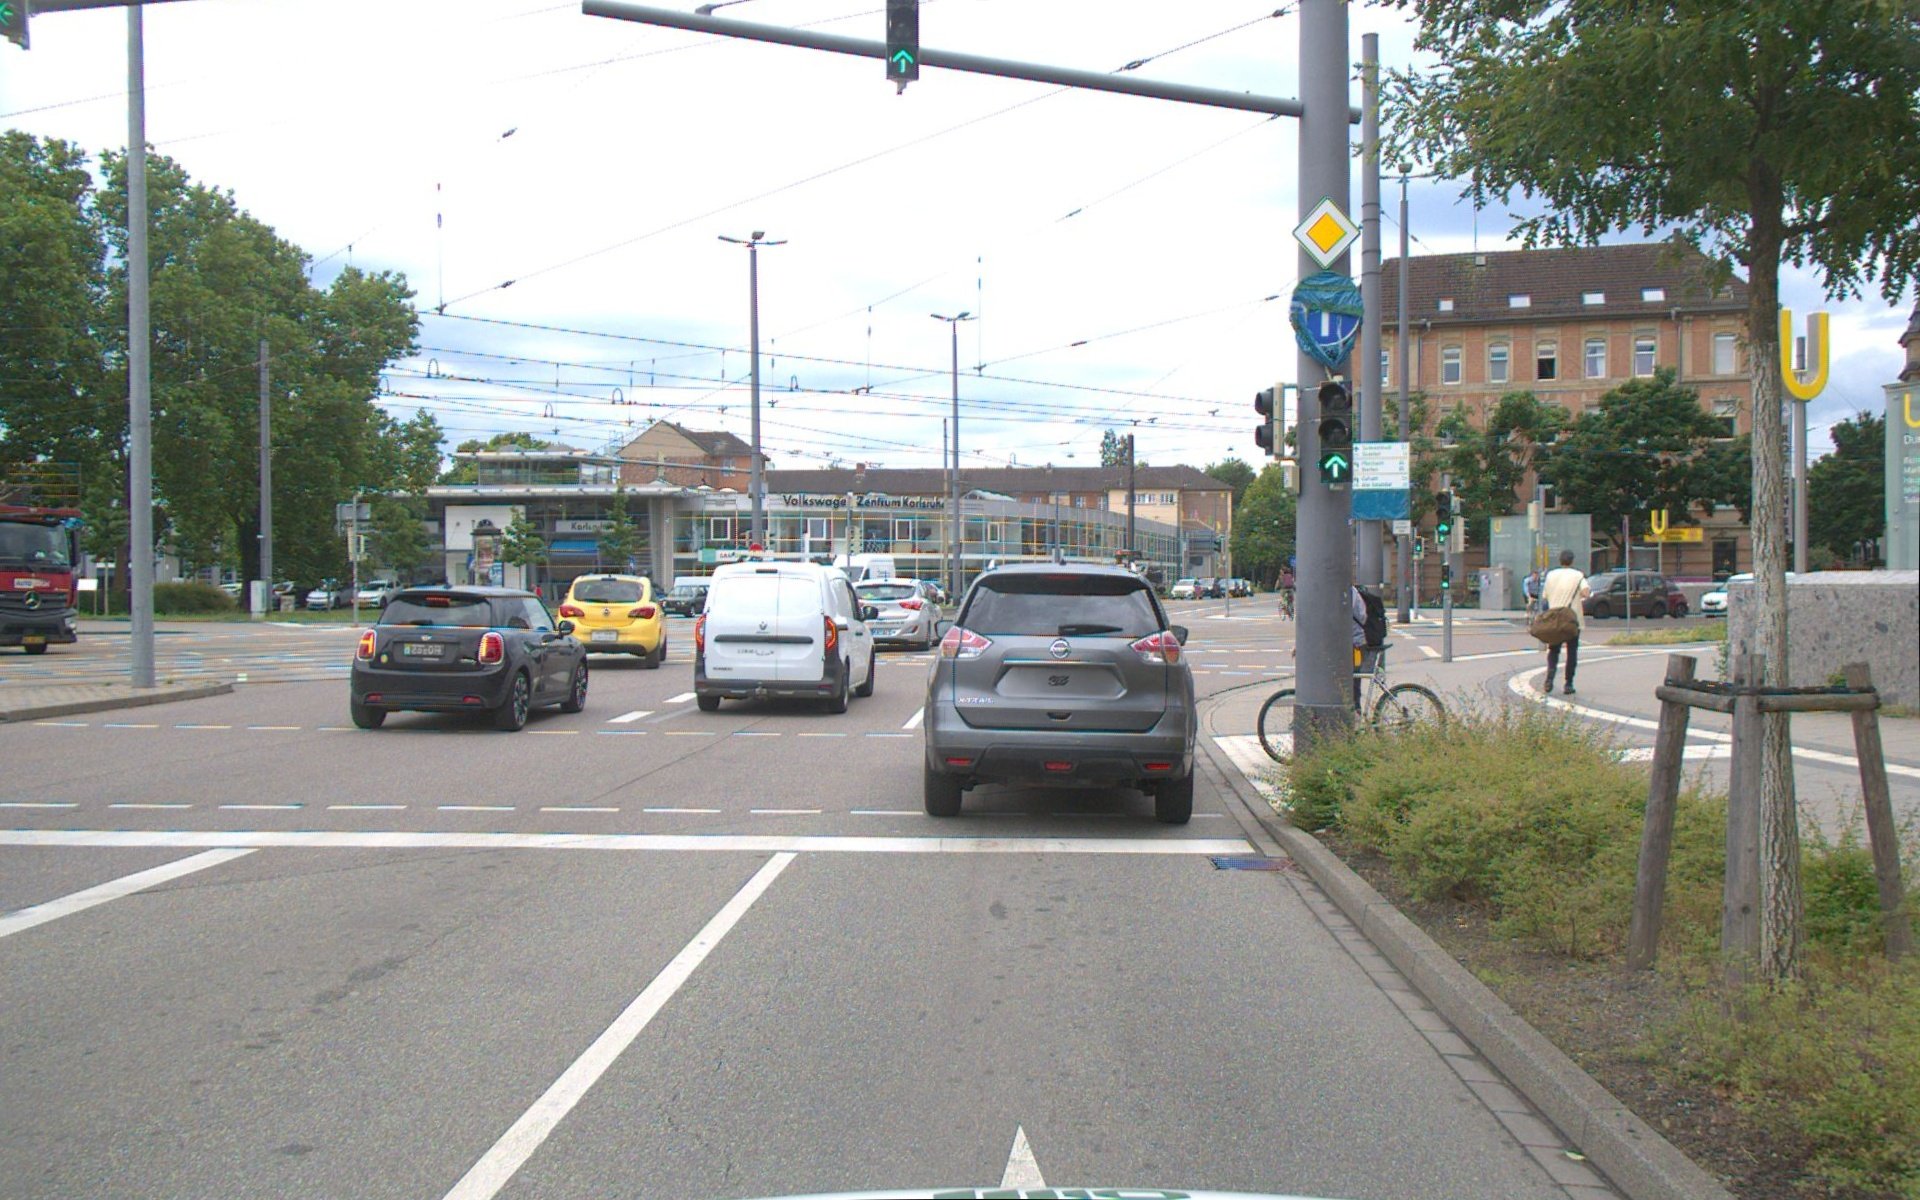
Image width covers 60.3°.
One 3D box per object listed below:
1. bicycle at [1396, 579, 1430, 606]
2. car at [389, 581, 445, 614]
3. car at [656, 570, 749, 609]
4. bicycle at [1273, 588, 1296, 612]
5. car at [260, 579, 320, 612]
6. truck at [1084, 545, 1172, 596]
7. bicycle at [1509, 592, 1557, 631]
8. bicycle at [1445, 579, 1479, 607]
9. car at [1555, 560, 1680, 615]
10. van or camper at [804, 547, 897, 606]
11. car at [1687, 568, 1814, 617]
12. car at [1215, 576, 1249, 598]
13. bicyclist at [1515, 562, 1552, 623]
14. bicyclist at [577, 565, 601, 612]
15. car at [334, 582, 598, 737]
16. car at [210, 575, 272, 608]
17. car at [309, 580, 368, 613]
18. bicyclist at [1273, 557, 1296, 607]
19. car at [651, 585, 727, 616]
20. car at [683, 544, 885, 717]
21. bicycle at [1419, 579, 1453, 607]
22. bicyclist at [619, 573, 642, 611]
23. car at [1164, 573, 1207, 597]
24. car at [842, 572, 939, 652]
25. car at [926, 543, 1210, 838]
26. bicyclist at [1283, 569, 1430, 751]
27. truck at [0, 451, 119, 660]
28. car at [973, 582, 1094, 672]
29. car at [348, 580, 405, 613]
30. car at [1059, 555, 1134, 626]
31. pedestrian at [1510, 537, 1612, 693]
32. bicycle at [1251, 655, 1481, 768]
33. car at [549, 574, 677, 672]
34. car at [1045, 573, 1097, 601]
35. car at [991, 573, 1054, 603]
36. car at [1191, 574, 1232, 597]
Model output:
[{"bbox_3d":[23.033,-0.372,84.125,0.940,1.378,3.115,1,0,29],"label":"bicycle"},{"bbox_3d":[-34.900,-0.198,106.372,1.951,2.049,4.002,1,0,5],"label":"car"},{"bbox_3d":[-14.412,-0.602,92.667,4.665,2.049,2.122,1,0,17],"label":"car"},{"bbox_3d":[11.183,0.002,57.083,0.606,0.807,1.593,0,1,5],"label":"bicycle"},{"bbox_3d":[-43.196,-0.316,106.731,1.951,2.049,4.002,1,0,5],"label":"car"},{"bbox_3d":[12.489,-2.135,122.098,2.743,3.611,9.202,1,0,31],"label":"truck"},{"bbox_3d":[15.355,0.298,44.308,0.659,0.949,1.852,-3,0,36],"label":"bicycle"},{"bbox_3d":[25.254,-0.327,83.154,0.940,1.378,3.115,1,0,29],"label":"bicycle"},{"bbox_3d":[23.508,-0.441,59.133,4.316,1.933,1.681,0,0,-25],"label":"car"},{"bbox_3d":[-5.073,-1.074,77.832,2.364,2.656,6.055,1,0,16],"label":"van or camper"},{"bbox_3d":[32.107,-0.318,67.152,5.017,1.949,1.855,0,1,-24],"label":"car"},{"bbox_3d":[23.841,-1.126,144.706,1.953,1.871,4.522,0,1,23],"label":"car"},{"bbox_3d":[15.367,-0.195,44.312,0.679,1.587,0.923,-2,1,36],"label":"bicyclist"},{"bbox_3d":[-14.759,-0.457,65.790,0.614,1.835,0.797,0,0,20],"label":"bicyclist"},{"bbox_3d":[-5.254,0.559,18.134,1.733,1.494,3.999,0,1,-1],"label":"car"},{"bbox_3d":[-46.503,-0.571,107.038,1.951,2.049,4.002,1,0,5],"label":"car"},{"bbox_3d":[-40.129,-0.245,106.883,1.951,2.049,4.002,1,0,5],"label":"car"},{"bbox_3d":[11.181,-0.618,57.045,0.673,1.738,0.799,0,0,5],"label":"bicyclist"},{"bbox_3d":[-11.237,0.006,68.807,1.651,1.268,3.740,0,1,16],"label":"car"},{"bbox_3d":[-2.104,0.320,20.930,1.872,1.974,4.133,0,1,3],"label":"car"},{"bbox_3d":[24.073,-0.351,83.660,0.940,1.378,3.115,1,0,29],"label":"bicycle"},{"bbox_3d":[-13.674,-0.326,68.641,0.554,1.534,0.857,0,2,20],"label":"bicyclist"},{"bbox_3d":[17.941,-1.233,131.537,1.955,1.871,4.517,0,1,28],"label":"car"},{"bbox_3d":[-1.364,0.219,34.035,1.815,1.534,4.000,1,0,0],"label":"car"},{"bbox_3d":[0.715,0.552,12.065,1.713,1.786,3.924,0,0,2],"label":"car"},{"bbox_3d":[3.452,0.509,14.468,1.075,1.547,0.759,0,0,-3],"label":"bicyclist"},{"bbox_3d":[-22.648,-0.937,34.604,10.209,3.988,3.015,1,0,22],"label":"truck"},{"bbox_3d":[1.357,0.421,28.926,1.951,1.445,4.003,0,1,5],"label":"car"},{"bbox_3d":[-37.660,-0.249,106.800,1.951,2.049,4.002,1,0,5],"label":"car"},{"bbox_3d":[4.104,-0.287,50.121,1.952,2.049,4.000,1,0,0],"label":"car"},{"bbox_3d":[7.639,0.175,21.012,0.870,1.900,1.280,0,0,38],"label":"pedestrian"},{"bbox_3d":[3.528,0.960,14.464,1.784,0.854,0.767,-2,0,-3],"label":"bicycle"},{"bbox_3d":[-5.814,0.349,28.092,1.783,1.520,3.994,1,1,-7],"label":"car"},{"bbox_3d":[7.697,-0.901,114.054,1.955,1.871,4.517,0,1,28],"label":"car"},{"bbox_3d":[4.077,-0.809,107.252,2.114,1.889,5.443,0,1,25],"label":"car"},{"bbox_3d":[21.006,-1.231,137.954,1.955,1.871,4.517,0,1,28],"label":"car"}]
